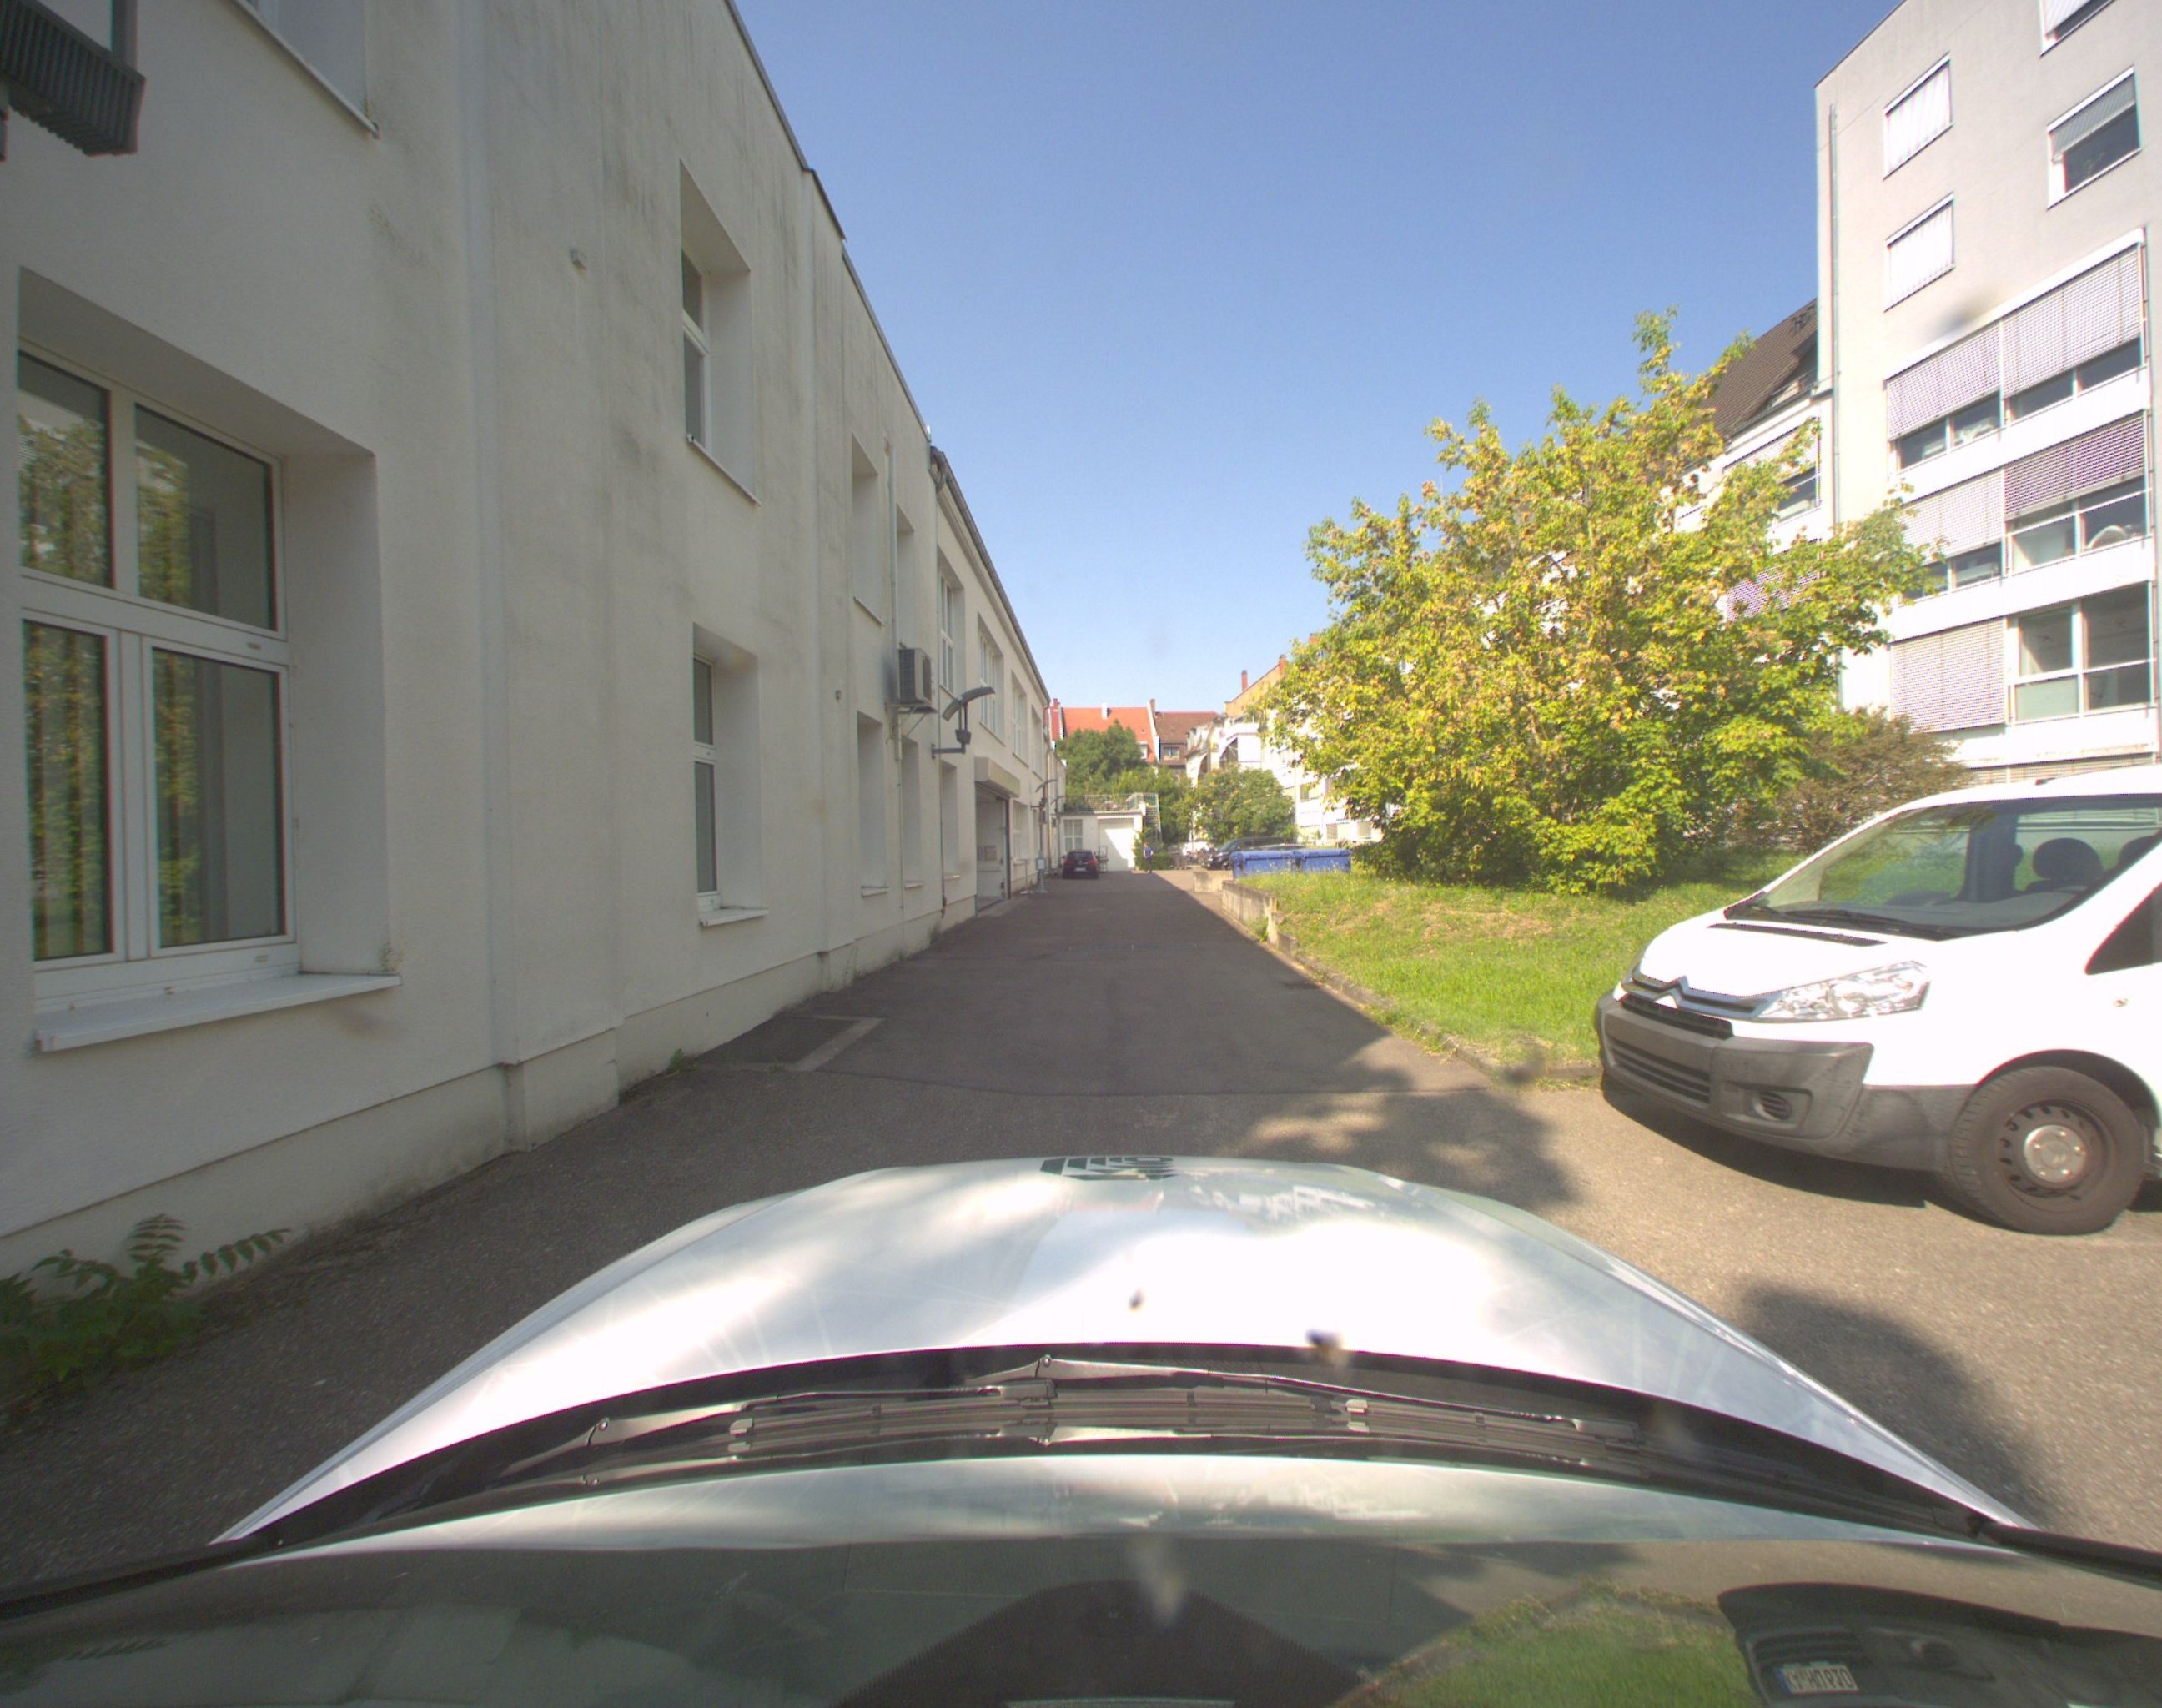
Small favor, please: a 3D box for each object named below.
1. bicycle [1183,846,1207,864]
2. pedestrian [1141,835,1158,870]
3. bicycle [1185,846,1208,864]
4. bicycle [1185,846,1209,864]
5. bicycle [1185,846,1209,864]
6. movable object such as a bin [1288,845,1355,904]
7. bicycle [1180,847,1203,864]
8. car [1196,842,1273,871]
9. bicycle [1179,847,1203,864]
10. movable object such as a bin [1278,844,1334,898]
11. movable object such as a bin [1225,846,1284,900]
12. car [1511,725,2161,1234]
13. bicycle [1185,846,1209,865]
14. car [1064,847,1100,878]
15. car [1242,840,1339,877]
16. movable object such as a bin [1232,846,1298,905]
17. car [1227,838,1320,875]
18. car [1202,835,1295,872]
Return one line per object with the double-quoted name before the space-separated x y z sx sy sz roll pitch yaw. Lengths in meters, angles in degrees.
"bicycle" 8.216 0.098 58.745 1.611 1.214 0.328 -2 0 15
"pedestrian" 3.977 -0.074 47.192 0.910 2.013 0.935 -1 0 2
"bicycle" 8.278 0.097 58.378 1.612 1.214 0.328 -2 0 12
"bicycle" 8.239 0.097 57.634 1.616 1.214 0.327 -2 0 3
"bicycle" 8.223 0.097 57.928 1.616 1.214 0.327 -2 0 3
"movable object such as a bin" 5.714 0.469 19.430 1.223 1.340 1.076 -1 0 -2
"bicycle" 8.059 0.102 59.427 1.617 1.214 0.424 -2 0 1
"car" 8.754 0.130 46.592 3.928 1.482 1.770 -2 -1 -7
"bicycle" 8.192 0.100 60.661 1.619 1.214 0.423 -2 0 -3
"movable object such as a bin" 5.821 0.433 21.146 1.228 1.340 1.119 -1 0 6
"movable object such as a bin" 4.503 0.474 21.229 1.295 1.340 1.195 -1 0 1
"car" 5.145 0.467 4.033 4.935 1.921 2.046 -1 0 4
"bicycle" 8.159 0.098 57.314 1.616 1.214 0.327 -2 0 3
"car" 0.095 0.411 40.834 1.682 1.459 3.923 -1 0 1
"car" 9.362 0.198 36.653 3.853 1.589 1.877 -1 0 -3
"movable object such as a bin" 4.389 0.493 19.478 1.305 1.340 1.100 -1 0 -1
"car" 9.292 0.122 39.478 4.104 1.691 1.770 -1 0 -1
"car" 8.956 -0.036 43.697 4.496 1.794 1.878 -2 -1 -7
